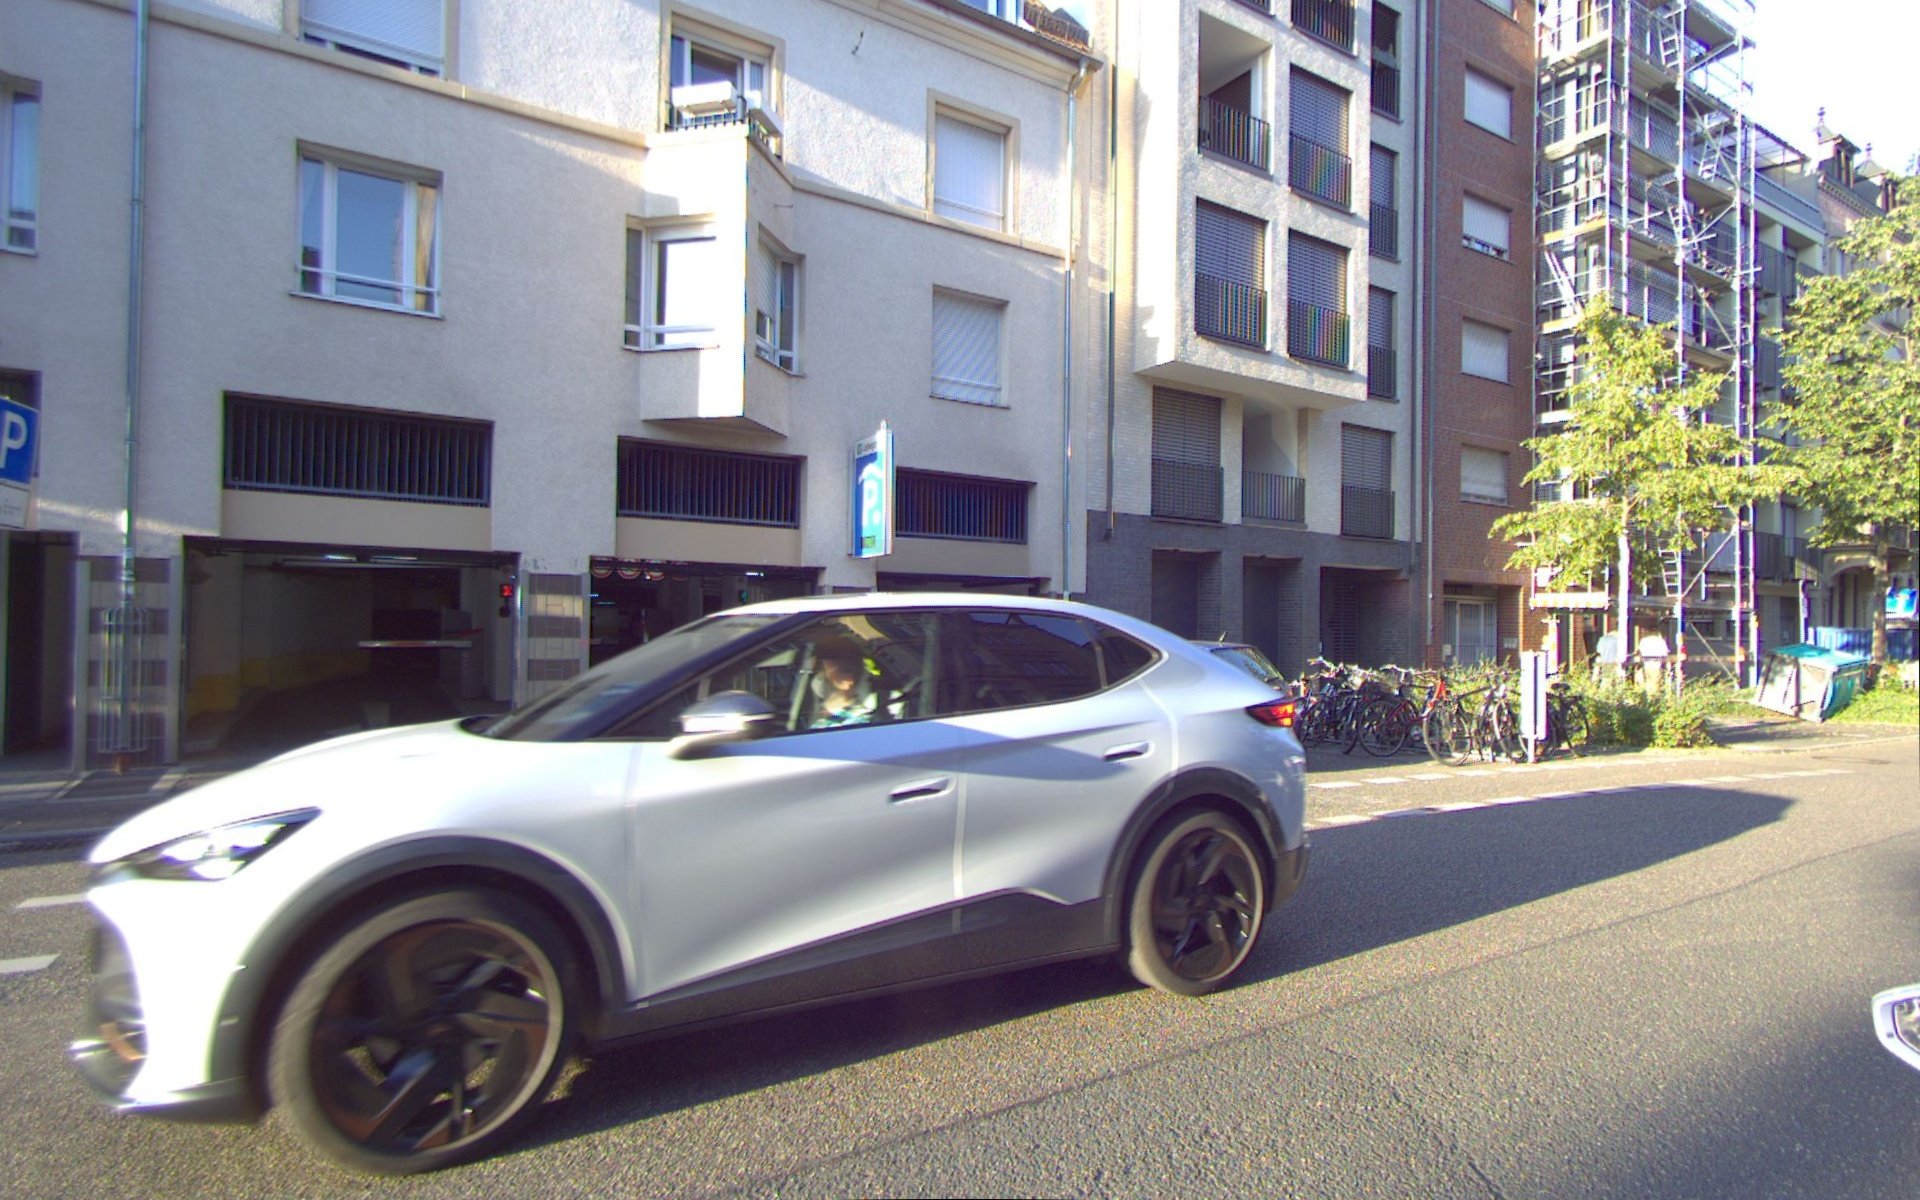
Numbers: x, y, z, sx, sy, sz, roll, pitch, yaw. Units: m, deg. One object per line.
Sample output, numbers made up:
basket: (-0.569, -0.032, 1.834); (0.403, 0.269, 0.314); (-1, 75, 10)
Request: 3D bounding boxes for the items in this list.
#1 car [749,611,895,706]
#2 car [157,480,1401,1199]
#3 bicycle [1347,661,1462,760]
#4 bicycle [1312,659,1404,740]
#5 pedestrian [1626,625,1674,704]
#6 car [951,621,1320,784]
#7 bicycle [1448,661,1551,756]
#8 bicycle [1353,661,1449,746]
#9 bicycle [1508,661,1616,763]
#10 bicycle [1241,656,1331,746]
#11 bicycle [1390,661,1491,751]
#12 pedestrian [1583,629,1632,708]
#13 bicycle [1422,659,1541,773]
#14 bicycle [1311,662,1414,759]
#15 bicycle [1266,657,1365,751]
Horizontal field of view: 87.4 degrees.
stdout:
car: (-2.786, 1.058, 19.603); (1.542, 1.639, 3.851); (1, -1, -29)
car: (-0.391, 0.685, 4.171); (4.269, 1.719, 1.865); (2, -4, -29)
bicycle: (5.552, 1.350, 12.523); (1.532, 1.172, 0.415); (2, -1, -26)
bicycle: (5.993, 1.468, 15.101); (1.534, 1.147, 0.455); (2, -1, -31)
pedestrian: (16.273, 1.509, 23.688); (0.649, 1.807, 0.737); (2, -2, -32)
car: (1.912, 1.083, 11.809); (4.063, 1.583, 1.683); (-2, -3, 45)
bicycle: (7.145, 1.405, 13.280); (1.534, 1.178, 0.485); (2, -1, -31)
bicycle: (6.389, 1.468, 14.525); (1.534, 1.159, 0.465); (2, -1, -31)
bicycle: (7.560, 1.368, 12.592); (1.534, 1.194, 0.505); (2, -1, -31)
bicycle: (4.589, 1.393, 14.115); (1.389, 1.199, 0.385); (2, -1, -31)
bicycle: (6.644, 1.439, 13.867); (1.534, 1.165, 0.485); (2, -1, -31)
pedestrian: (15.058, 1.581, 23.364); (0.649, 1.807, 0.737); (2, -2, -31)
bicycle: (6.070, 1.311, 11.667); (1.534, 1.236, 0.495); (2, -1, -31)
bicycle: (5.213, 1.396, 12.975); (1.534, 1.175, 0.379); (2, -1, -31)
bicycle: (4.841, 1.391, 13.638); (1.534, 1.205, 0.384); (2, -1, -31)
